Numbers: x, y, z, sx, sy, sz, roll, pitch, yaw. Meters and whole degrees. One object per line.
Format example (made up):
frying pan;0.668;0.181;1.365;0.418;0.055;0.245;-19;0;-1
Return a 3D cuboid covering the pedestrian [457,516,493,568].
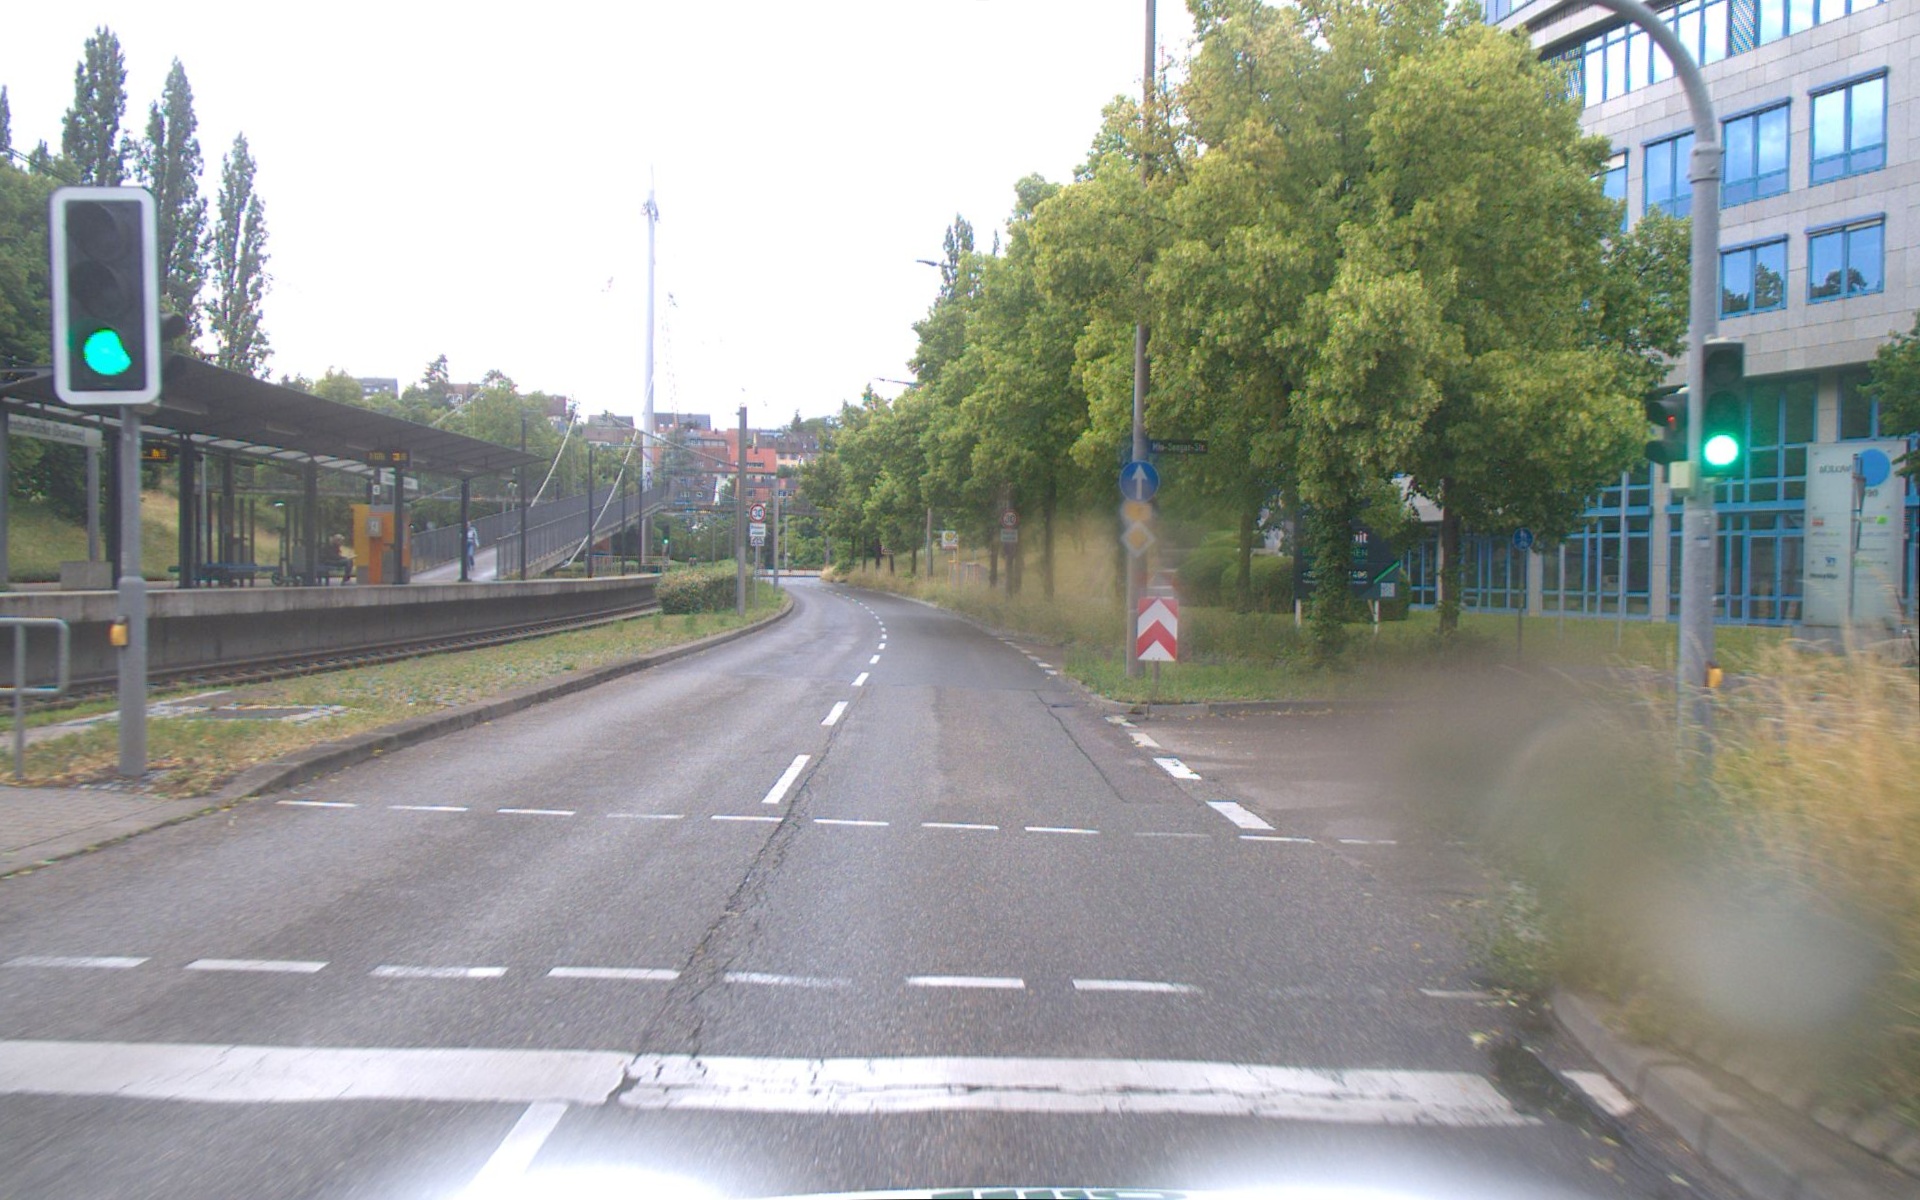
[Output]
pedestrian;-15.811;-1.888;53.957;0.917;1.639;1.026;1;0;-5

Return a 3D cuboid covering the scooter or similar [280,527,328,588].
scooter or similar;-13.765;-0.897;34.702;1.278;1.239;0.377;2;-1;43

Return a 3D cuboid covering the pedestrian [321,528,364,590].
pedestrian;-14.181;-0.941;37.969;0.738;1.379;0.691;1;0;-5
